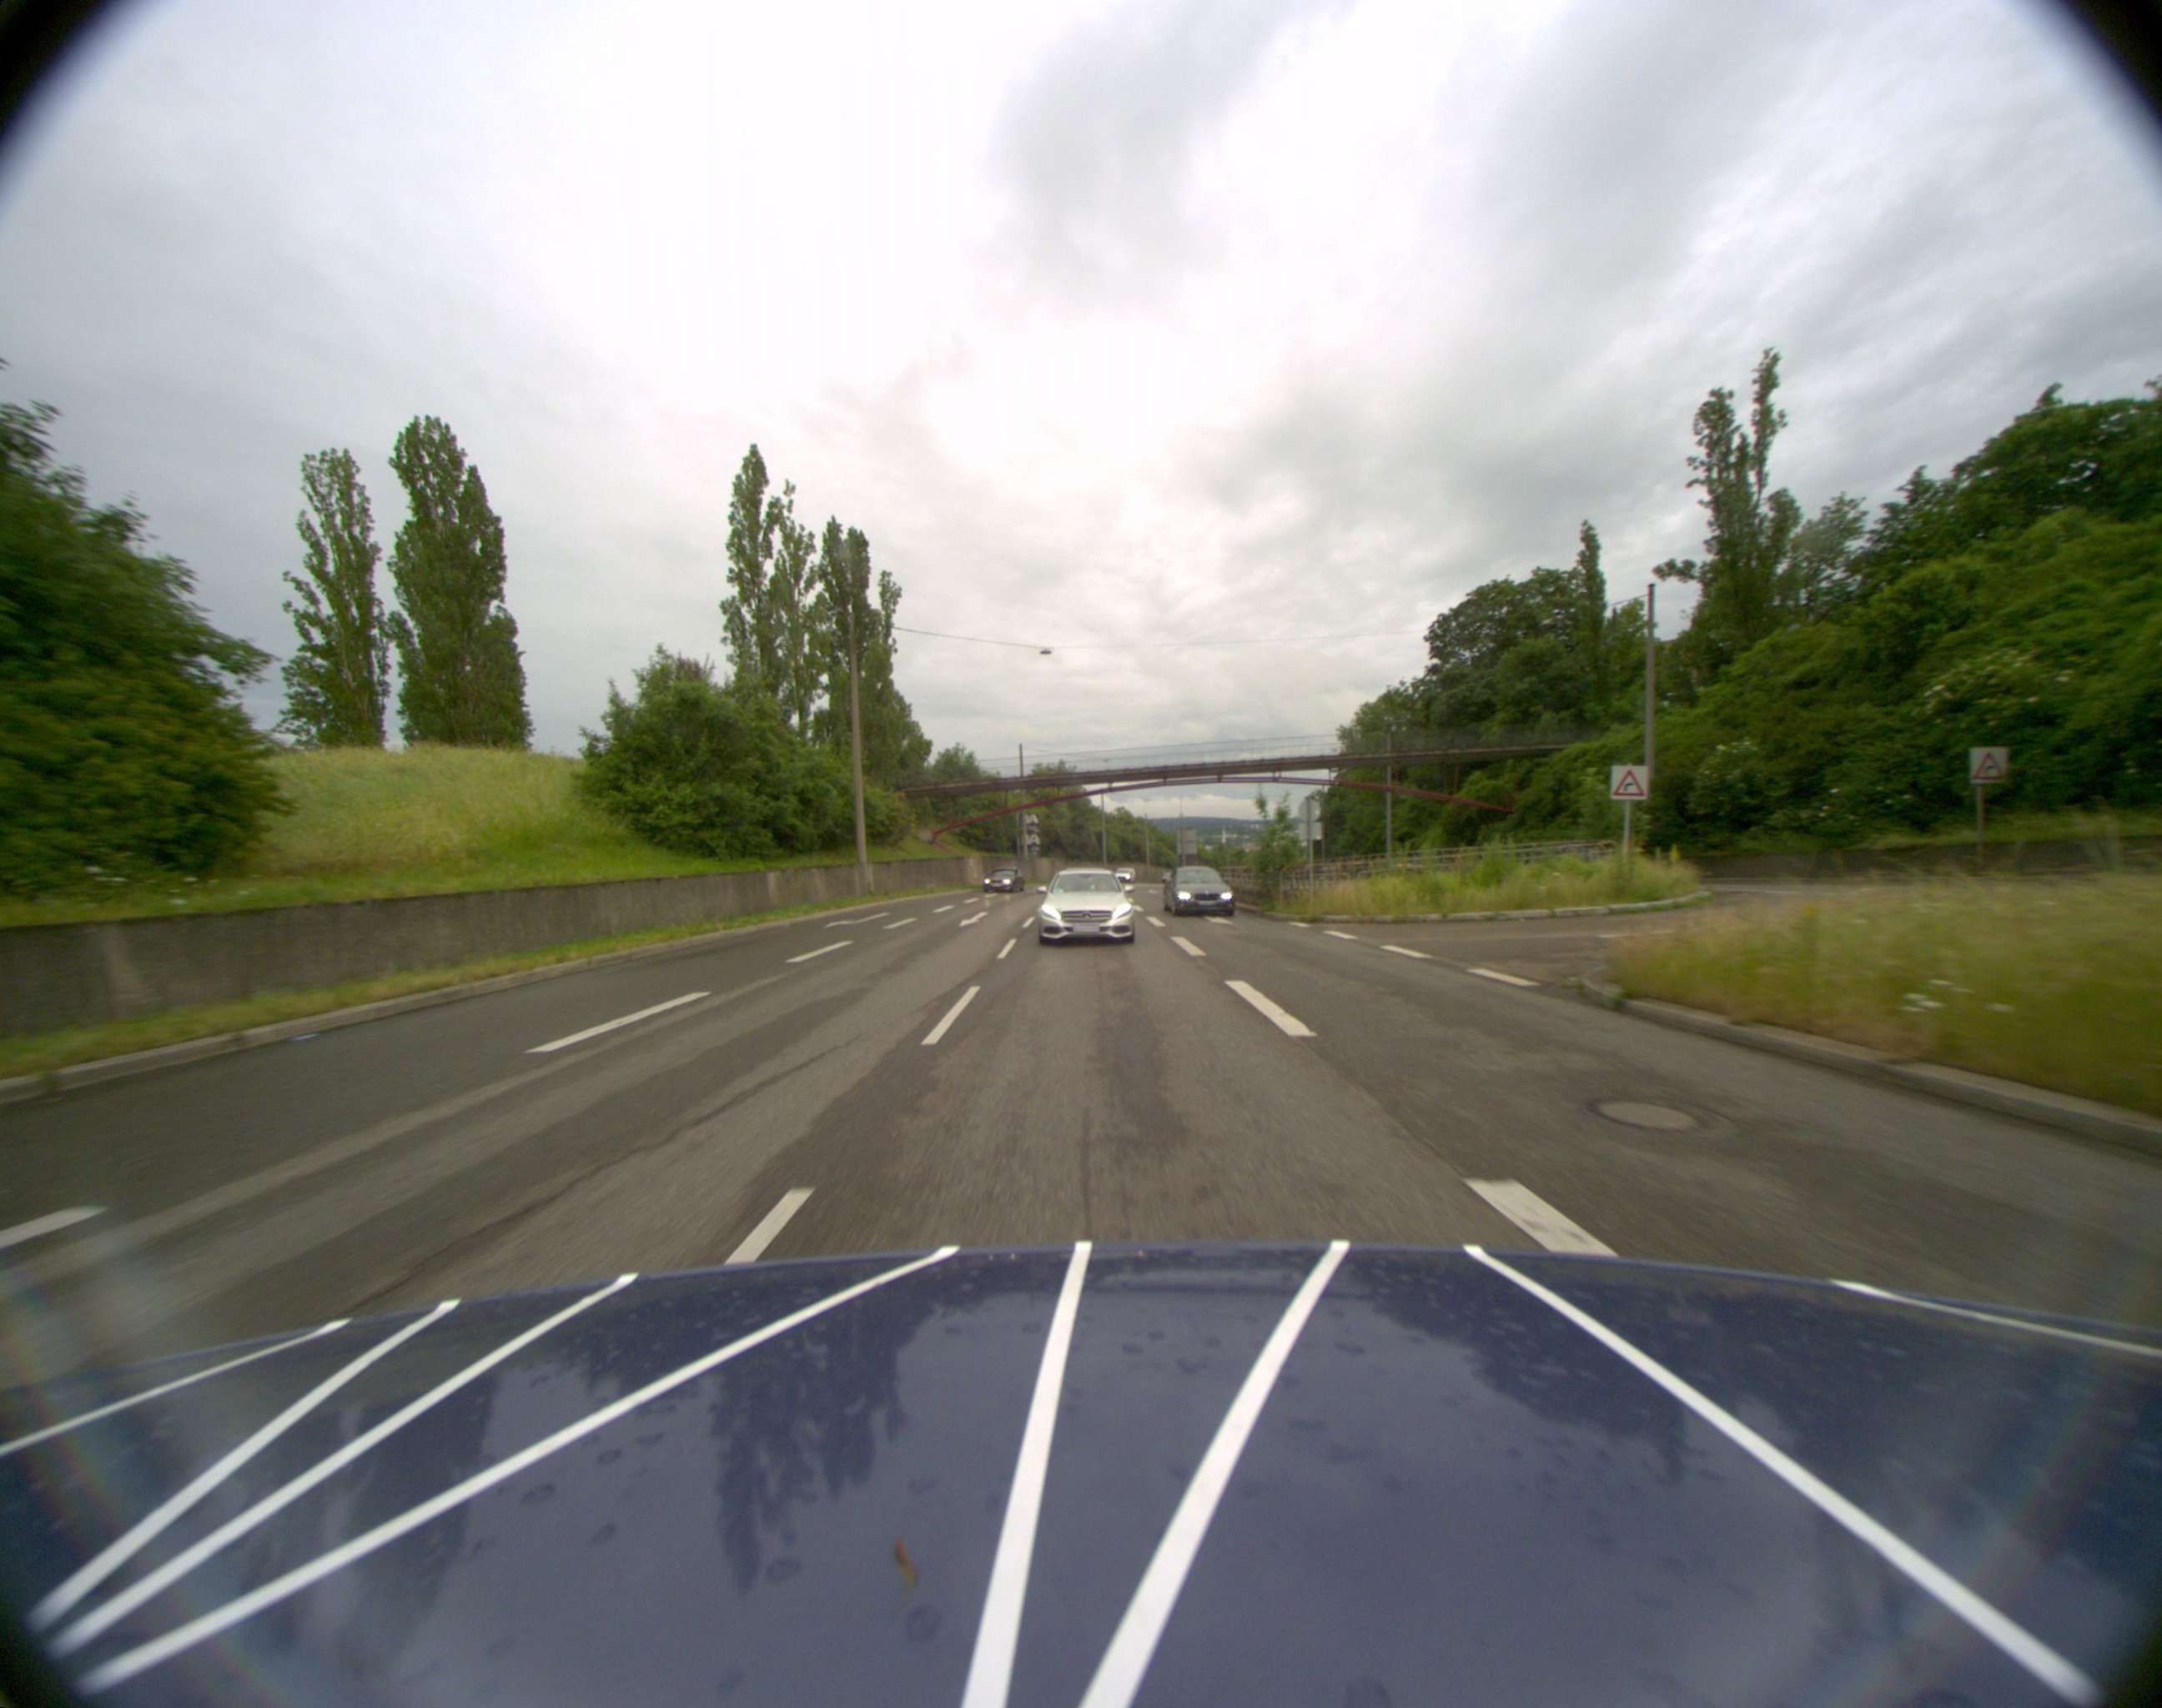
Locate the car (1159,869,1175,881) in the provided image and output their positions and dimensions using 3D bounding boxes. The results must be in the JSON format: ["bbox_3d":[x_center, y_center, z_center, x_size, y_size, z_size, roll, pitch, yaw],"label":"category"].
[{"bbox_3d":[11.506,2.777,101.765,1.808,1.501,4.004,-1,-1,11],"label":"car"}]

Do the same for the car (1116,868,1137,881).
[{"bbox_3d":[5.579,2.510,92.644,1.808,1.501,4.005,-2,-1,16],"label":"car"}]

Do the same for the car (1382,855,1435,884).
[{"bbox_3d":[21.971,1.001,51.130,1.997,1.823,4.633,-1,-1,7],"label":"car"}]

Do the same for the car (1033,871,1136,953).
[{"bbox_3d":[0.145,1.092,15.920,1.861,1.394,4.316,1,0,2],"label":"car"}]

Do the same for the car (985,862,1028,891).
[{"bbox_3d":[-4.214,1.267,43.571,1.809,1.501,4.002,-1,-1,3],"label":"car"}]

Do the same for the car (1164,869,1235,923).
[{"bbox_3d":[3.501,1.209,23.131,1.729,1.462,3.889,0,-1,3],"label":"car"}]
